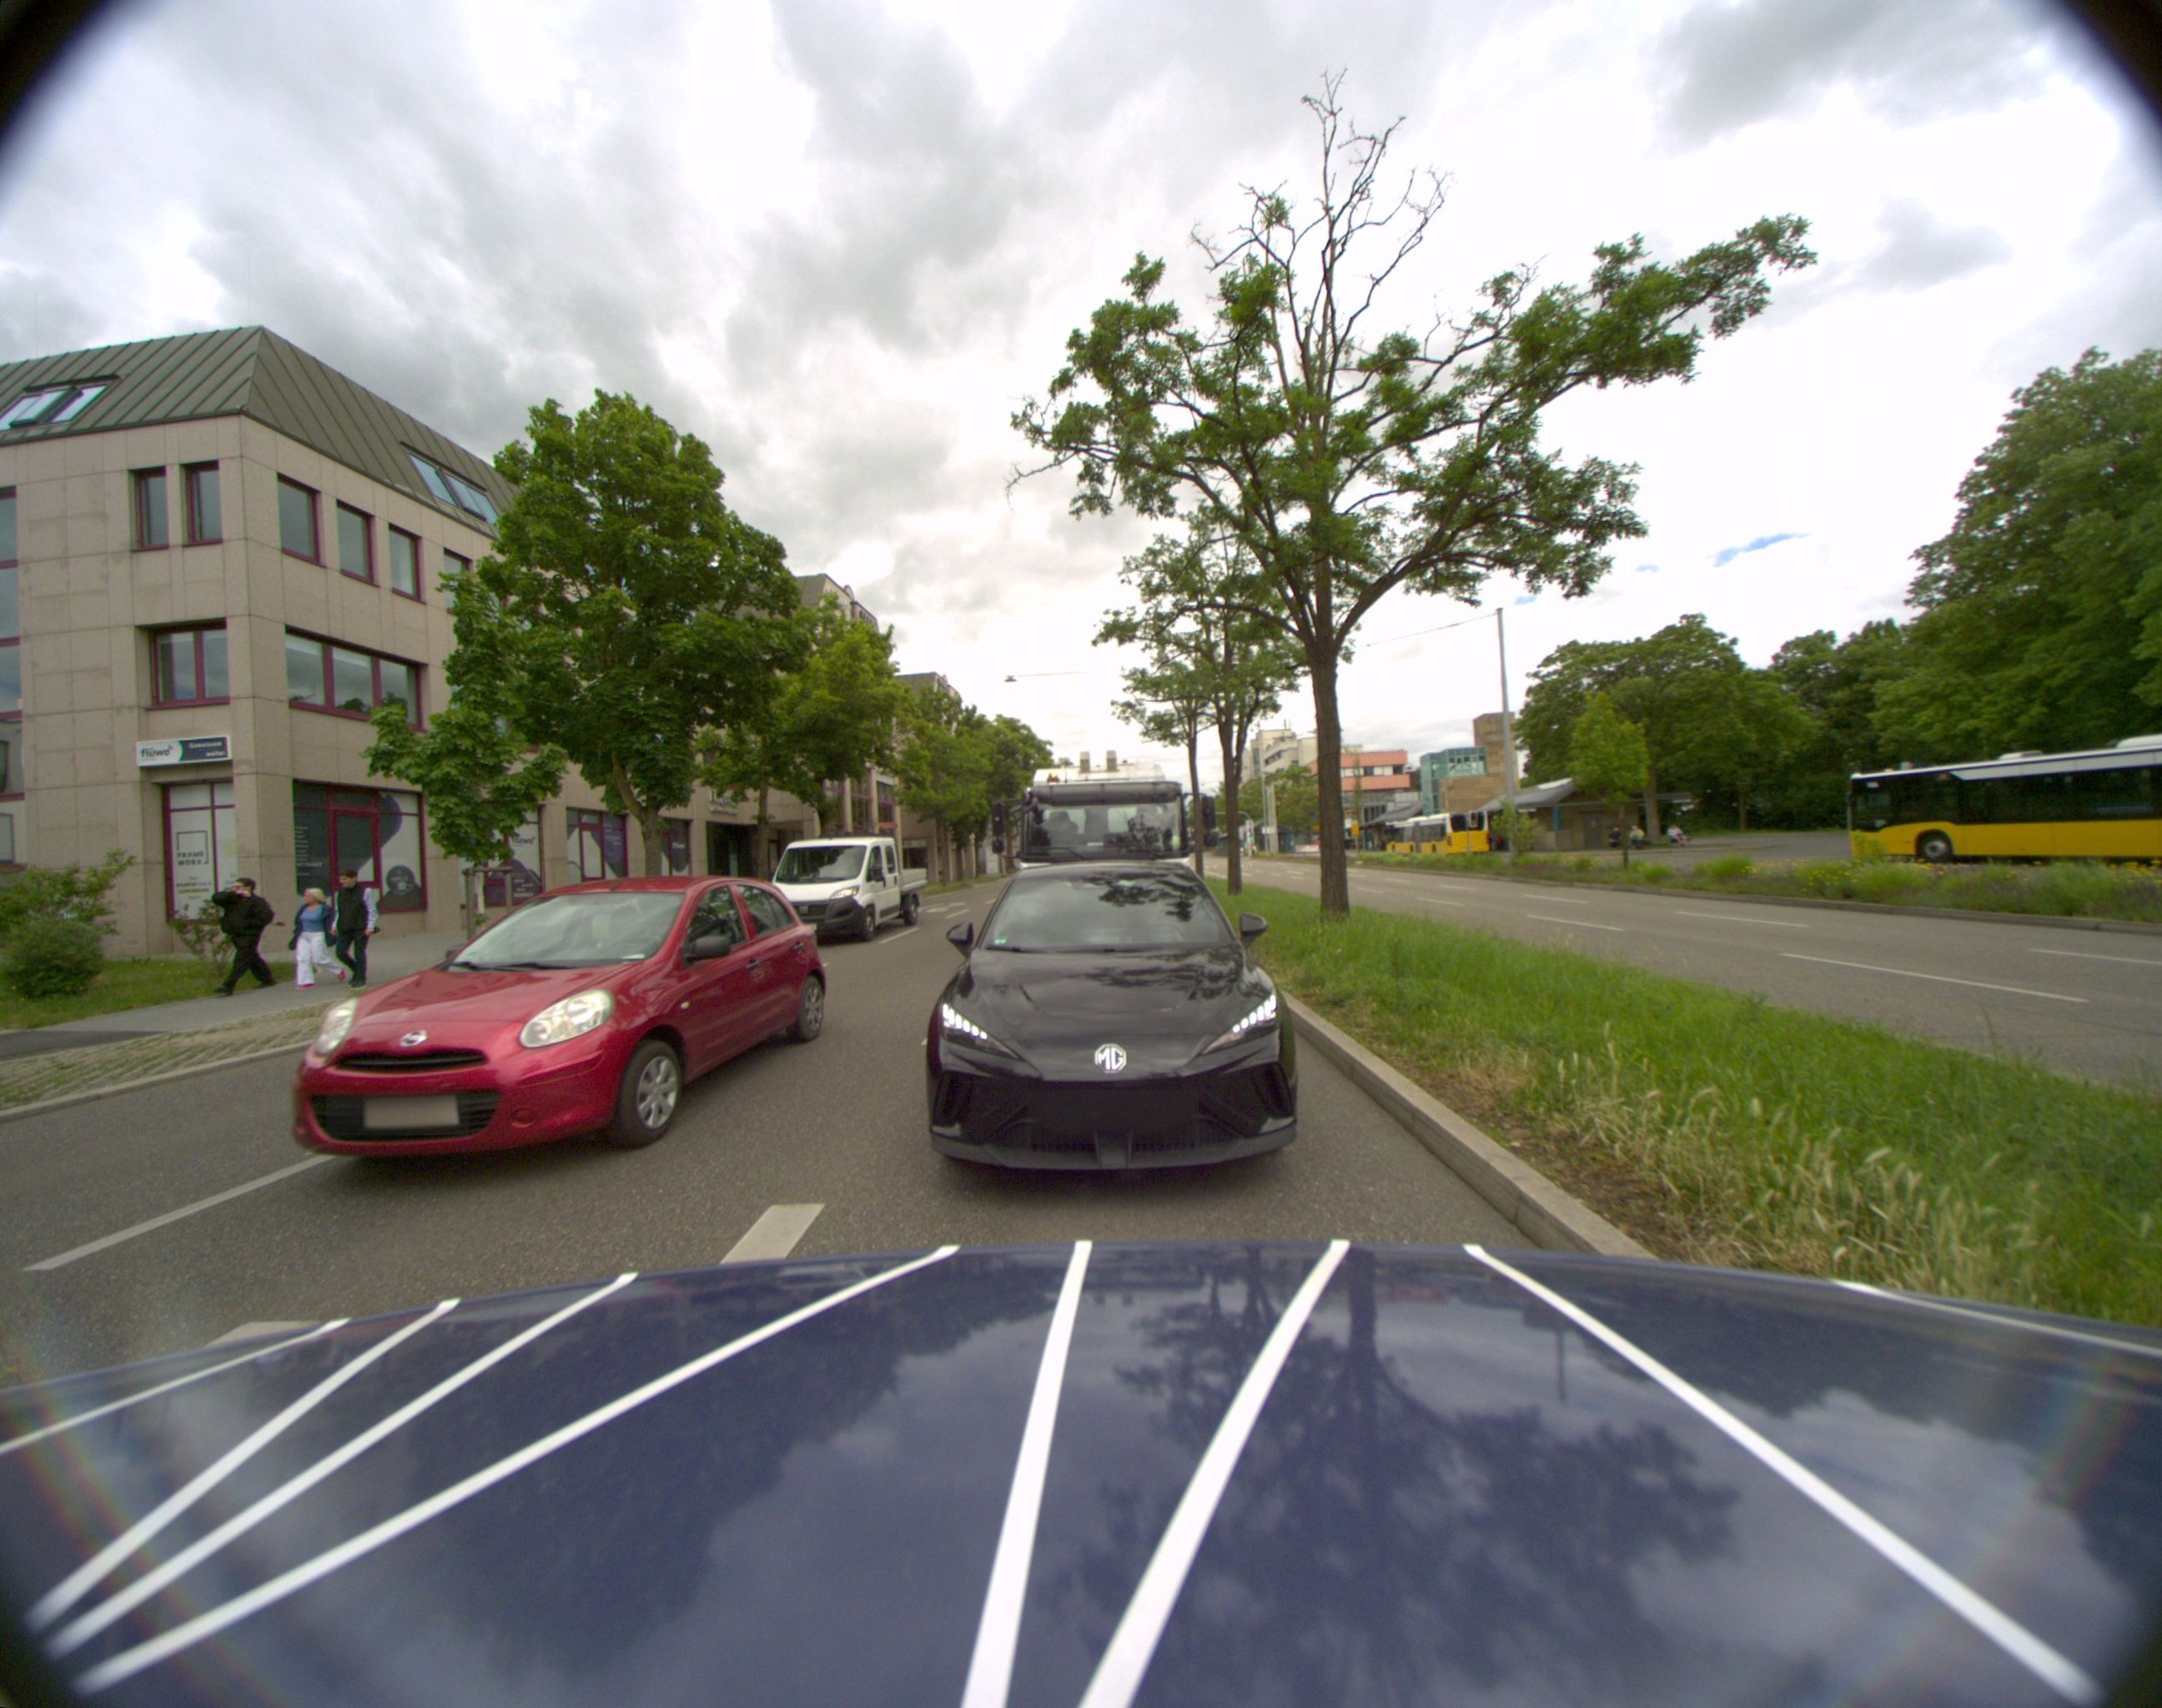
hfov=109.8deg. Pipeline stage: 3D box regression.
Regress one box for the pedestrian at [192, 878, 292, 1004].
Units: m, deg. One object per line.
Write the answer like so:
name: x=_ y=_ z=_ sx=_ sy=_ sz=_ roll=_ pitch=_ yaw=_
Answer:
pedestrian: x=-12.602 y=1.288 z=11.433 sx=0.642 sy=1.795 sz=0.677 roll=-3 pitch=1 yaw=1

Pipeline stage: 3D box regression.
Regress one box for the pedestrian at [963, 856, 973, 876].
pedestrian: x=-10.191 y=1.092 z=68.376 sx=0.719 sy=1.737 sz=0.832 roll=-2 pitch=1 yaw=0

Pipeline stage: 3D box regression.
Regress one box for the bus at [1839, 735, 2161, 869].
bus: x=25.925 y=-1.245 z=19.704 sx=2.888 sy=2.985 sz=10.397 roll=-3 pitch=0 yaw=6

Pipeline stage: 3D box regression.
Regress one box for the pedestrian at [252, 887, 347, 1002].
pedestrian: x=-11.847 y=1.353 z=11.541 sx=0.642 sy=1.637 sz=0.677 roll=-3 pitch=1 yaw=1

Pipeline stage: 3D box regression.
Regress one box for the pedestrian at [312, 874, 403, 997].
pedestrian: x=-11.078 y=1.227 z=11.650 sx=0.642 sy=1.795 sz=0.677 roll=-3 pitch=1 yaw=1

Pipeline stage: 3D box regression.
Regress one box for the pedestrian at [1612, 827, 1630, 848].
pedestrian: x=30.787 y=-0.948 z=43.337 sx=0.599 sy=1.155 sz=0.743 roll=-2 pitch=1 yaw=15

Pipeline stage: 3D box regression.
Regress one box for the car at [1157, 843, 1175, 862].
car: x=9.454 y=-0.181 z=84.998 sx=1.726 sy=2.002 sz=4.001 roll=-3 pitch=0 yaw=3

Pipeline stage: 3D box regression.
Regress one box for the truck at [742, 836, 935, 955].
truck: x=-5.220 y=0.772 z=17.510 sx=2.216 sy=2.190 sz=5.845 roll=-3 pitch=0 yaw=3

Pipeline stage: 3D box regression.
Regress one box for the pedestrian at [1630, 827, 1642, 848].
pedestrian: x=30.213 y=-0.904 z=41.385 sx=0.367 sy=1.160 sz=0.899 roll=-2 pitch=1 yaw=26

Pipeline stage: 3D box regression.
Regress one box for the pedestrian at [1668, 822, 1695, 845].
pedestrian: x=31.956 y=-1.096 z=40.443 sx=0.650 sy=1.165 sz=0.925 roll=-2 pitch=1 yaw=1

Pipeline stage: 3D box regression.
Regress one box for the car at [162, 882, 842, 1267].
car: x=-3.211 y=1.066 z=5.339 sx=1.720 sy=1.549 sz=3.858 roll=-1 pitch=0 yaw=1

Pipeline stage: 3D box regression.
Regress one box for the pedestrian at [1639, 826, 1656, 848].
pedestrian: x=30.666 y=-0.918 z=41.123 sx=0.598 sy=1.155 sz=0.744 roll=-2 pitch=1 yaw=26

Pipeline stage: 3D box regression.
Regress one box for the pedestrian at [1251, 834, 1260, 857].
pedestrian: x=21.361 y=-1.049 z=92.933 sx=0.903 sy=2.772 sz=1.148 roll=-2 pitch=1 yaw=13

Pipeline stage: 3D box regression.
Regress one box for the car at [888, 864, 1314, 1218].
car: x=0.117 y=0.863 z=5.373 sx=1.827 sy=1.430 sz=4.000 roll=-3 pitch=0 yaw=1

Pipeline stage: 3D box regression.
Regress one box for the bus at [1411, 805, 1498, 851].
bus: x=26.099 y=-1.731 z=53.639 sx=2.887 sy=2.793 sz=9.181 roll=-3 pitch=0 yaw=10

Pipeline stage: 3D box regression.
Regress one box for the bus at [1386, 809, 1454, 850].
bus: x=27.607 y=-1.919 z=62.381 sx=2.887 sy=2.985 sz=9.182 roll=-3 pitch=0 yaw=10

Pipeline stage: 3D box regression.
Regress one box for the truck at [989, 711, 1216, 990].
truck: x=0.310 y=-0.050 z=12.673 sx=2.544 sy=3.187 sz=7.368 roll=-3 pitch=0 yaw=1
